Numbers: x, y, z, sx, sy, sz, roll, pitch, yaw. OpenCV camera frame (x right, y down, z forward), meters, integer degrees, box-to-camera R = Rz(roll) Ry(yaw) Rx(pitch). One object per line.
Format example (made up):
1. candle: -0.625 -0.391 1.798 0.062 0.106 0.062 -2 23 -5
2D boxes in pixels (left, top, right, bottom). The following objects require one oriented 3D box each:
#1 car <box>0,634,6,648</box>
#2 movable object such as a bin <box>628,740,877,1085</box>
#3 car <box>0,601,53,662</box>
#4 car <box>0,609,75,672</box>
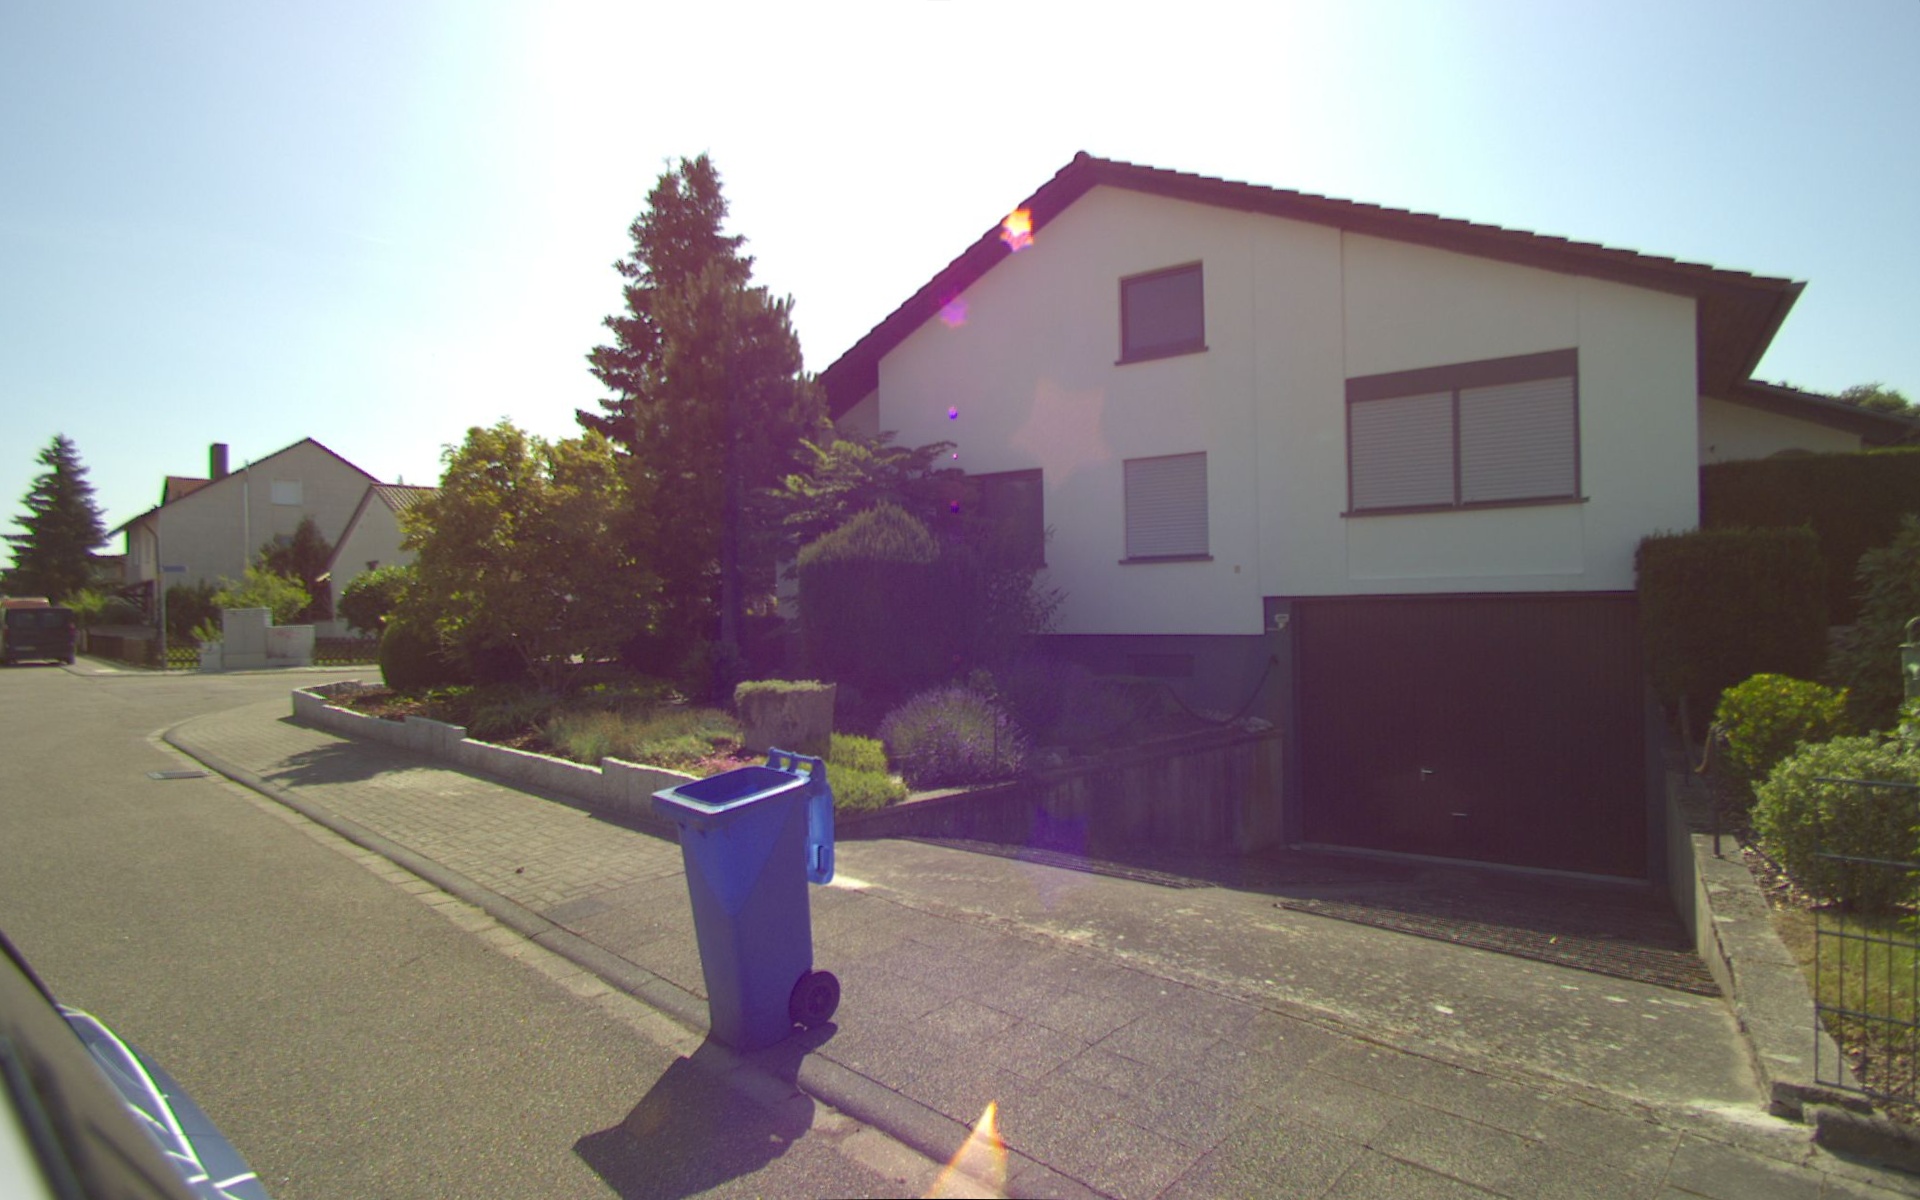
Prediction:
1. car: -110.383 4.722 114.484 1.636 1.541 3.371 -2 0 38
2. movable object such as a bin: -0.711 1.001 3.469 0.598 0.923 0.576 -2 0 43
3. car: -37.924 1.260 40.927 4.205 2.341 1.534 -2 0 44
4. car: -31.361 1.330 34.170 4.205 1.953 1.844 -2 0 44
